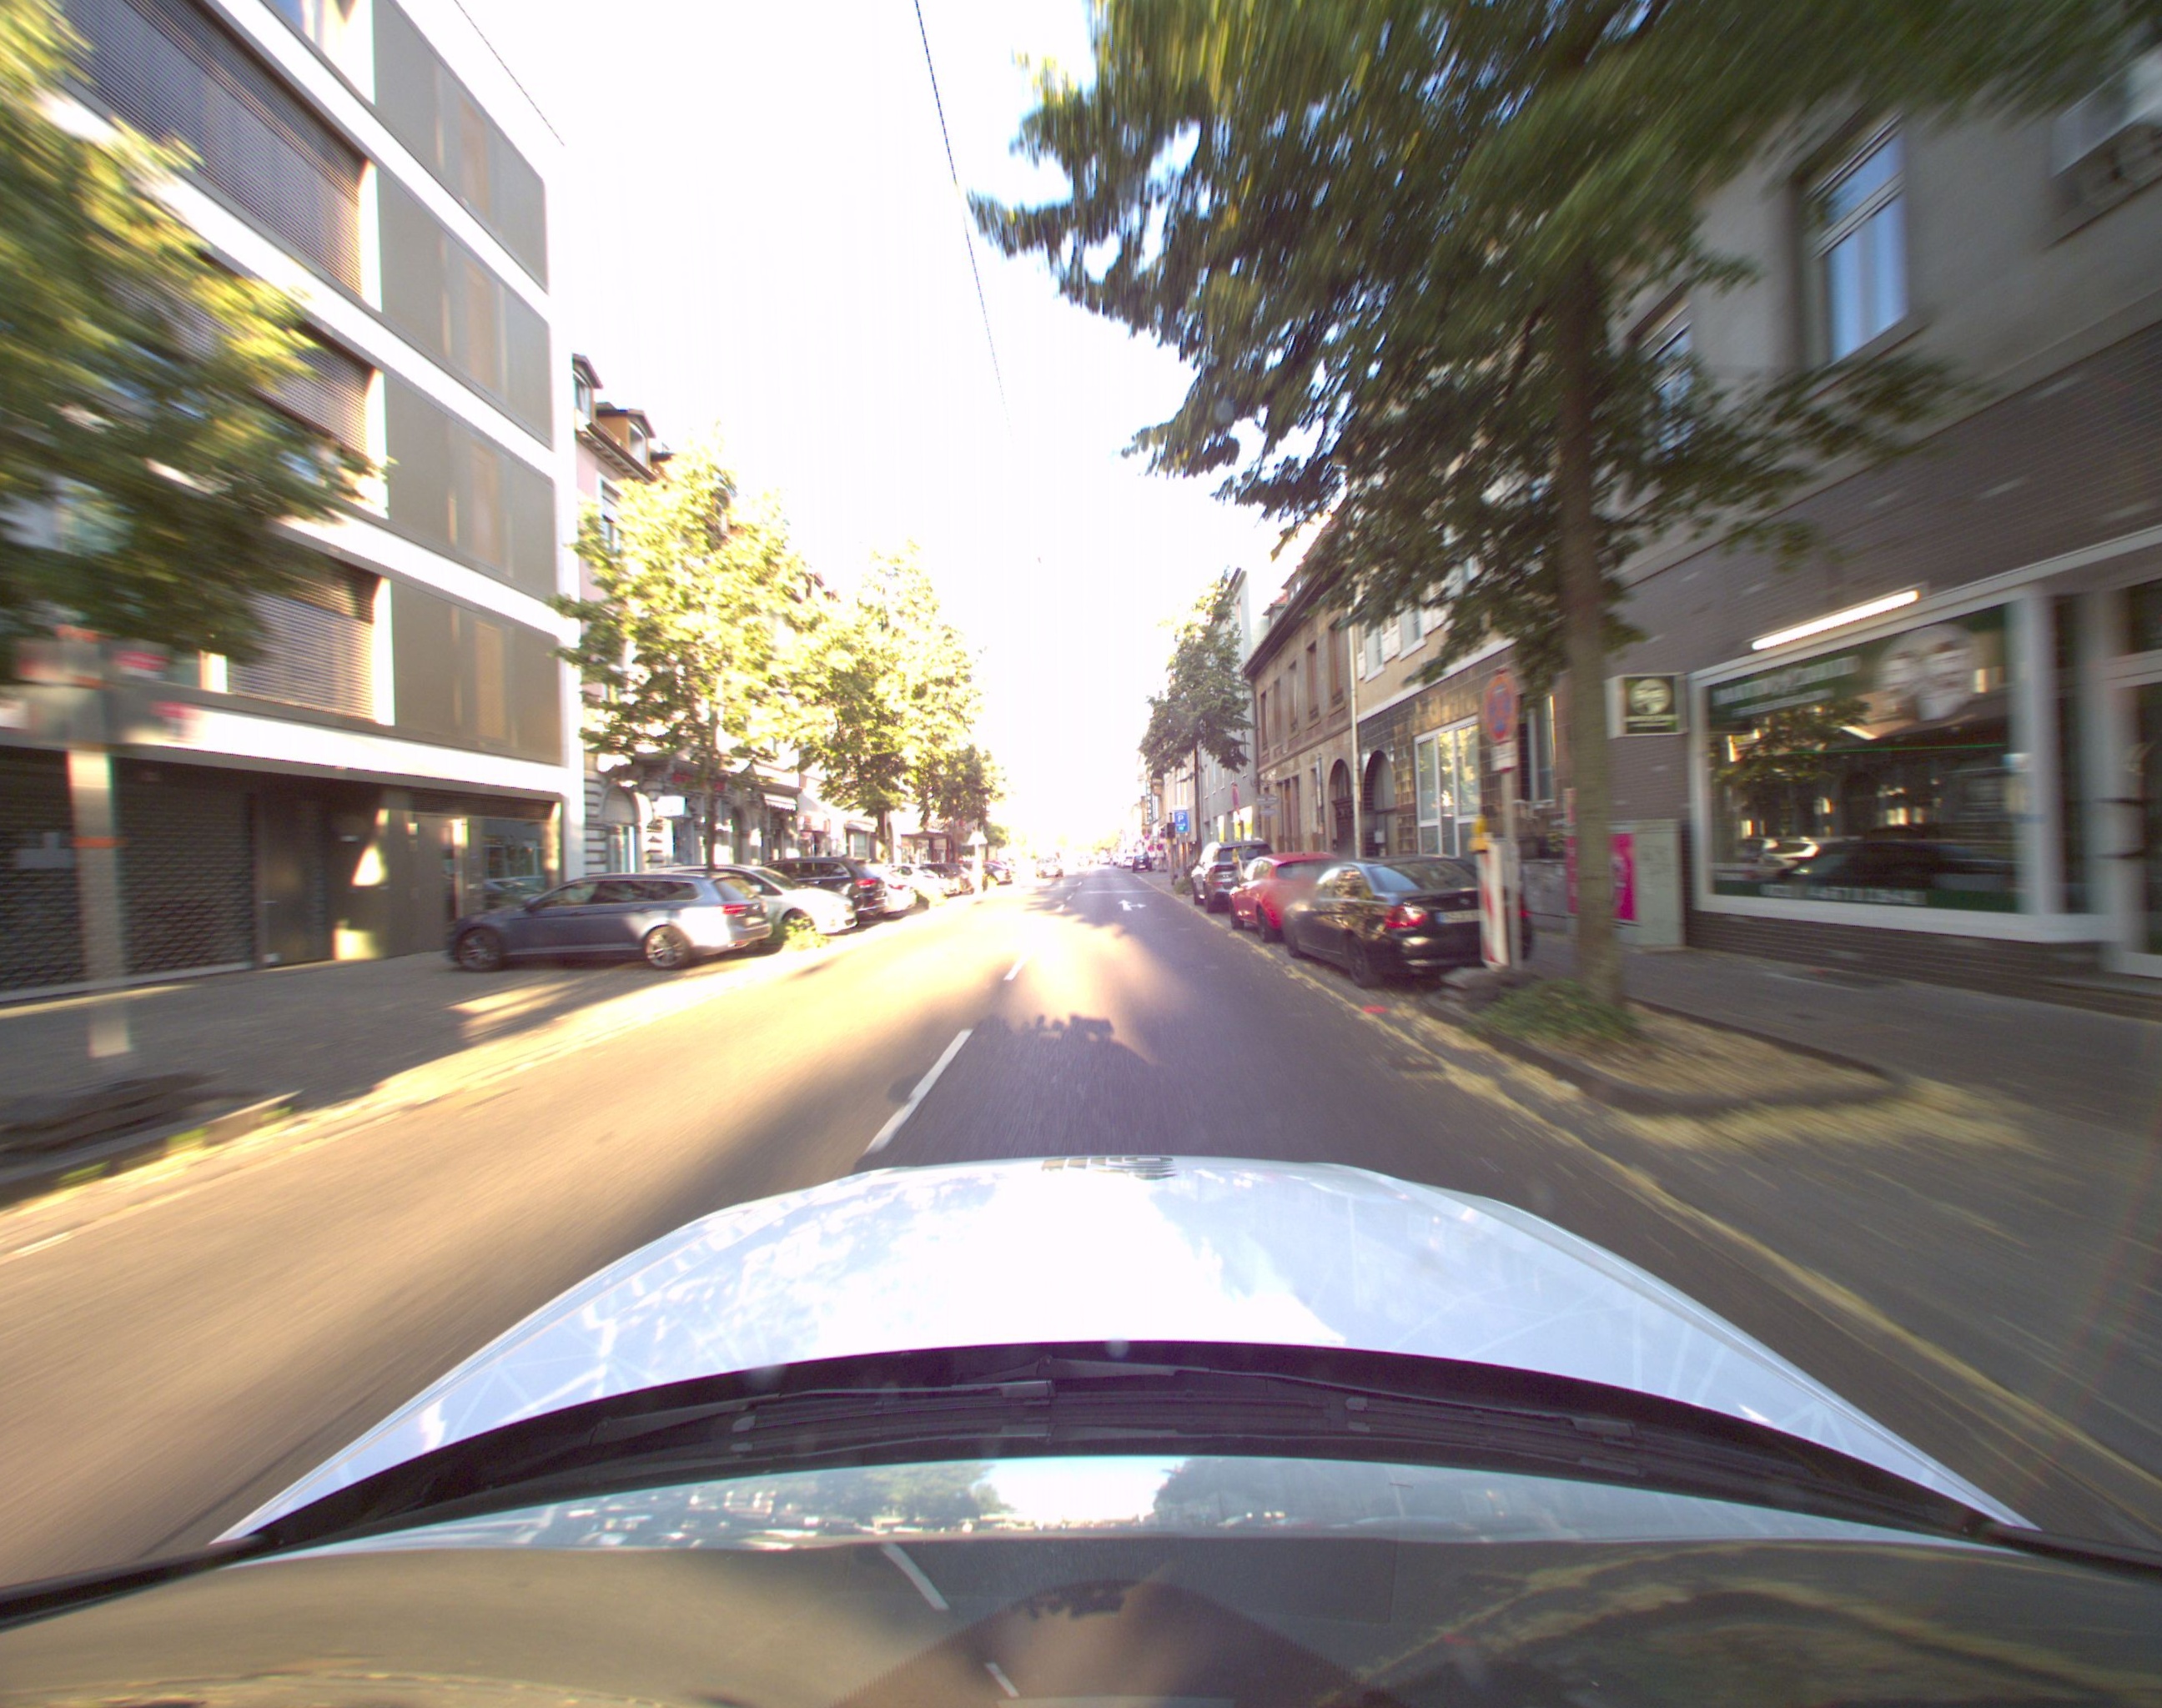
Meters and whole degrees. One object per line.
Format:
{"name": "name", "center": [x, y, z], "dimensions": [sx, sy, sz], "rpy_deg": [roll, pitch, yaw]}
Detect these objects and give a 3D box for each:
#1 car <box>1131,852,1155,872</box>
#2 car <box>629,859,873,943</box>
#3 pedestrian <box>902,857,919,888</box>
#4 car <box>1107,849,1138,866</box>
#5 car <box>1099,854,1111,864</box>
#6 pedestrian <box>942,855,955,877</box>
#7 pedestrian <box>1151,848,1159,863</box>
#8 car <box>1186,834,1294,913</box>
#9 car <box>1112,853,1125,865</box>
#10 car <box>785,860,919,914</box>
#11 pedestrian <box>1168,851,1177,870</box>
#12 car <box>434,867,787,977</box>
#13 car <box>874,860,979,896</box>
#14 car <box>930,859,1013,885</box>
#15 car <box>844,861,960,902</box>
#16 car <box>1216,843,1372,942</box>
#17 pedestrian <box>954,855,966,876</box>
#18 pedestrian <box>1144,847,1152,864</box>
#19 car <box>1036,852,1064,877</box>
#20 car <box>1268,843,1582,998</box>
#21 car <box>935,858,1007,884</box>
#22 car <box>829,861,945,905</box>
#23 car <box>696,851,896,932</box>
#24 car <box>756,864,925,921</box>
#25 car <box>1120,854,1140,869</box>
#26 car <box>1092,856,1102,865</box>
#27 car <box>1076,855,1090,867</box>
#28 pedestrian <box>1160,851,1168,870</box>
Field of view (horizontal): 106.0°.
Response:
{"name": "car", "center": [5.266, 0.652, 69.406], "dimensions": [1.752, 1.536, 4.002], "rpy_deg": [-5, 0, 2]}
{"name": "car", "center": [-6.916, 0.953, 17.404], "dimensions": [4.392, 1.596, 1.890], "rpy_deg": [-1, 0, 0]}
{"name": "pedestrian", "center": [-9.681, 1.056, 46.186], "dimensions": [0.769, 1.721, 0.876], "rpy_deg": [-1, -2, 1]}
{"name": "car", "center": [4.828, 0.431, 95.912], "dimensions": [2.001, 1.761, 4.433], "rpy_deg": [-2, 0, -21]}
{"name": "car", "center": [4.056, 0.845, 136.408], "dimensions": [1.890, 1.581, 4.000], "rpy_deg": [0, 0, 1]}
{"name": "pedestrian", "center": [-9.695, 0.865, 59.658], "dimensions": [0.769, 1.608, 0.876], "rpy_deg": [-1, -2, 1]}
{"name": "pedestrian", "center": [8.442, 0.145, 92.941], "dimensions": [0.770, 1.711, 1.042], "rpy_deg": [-4, 0, 1]}
{"name": "car", "center": [4.108, 0.465, 21.847], "dimensions": [2.031, 1.737, 4.713], "rpy_deg": [-4, 0, 2]}
{"name": "car", "center": [5.596, 0.772, 122.209], "dimensions": [1.724, 1.651, 4.285], "rpy_deg": [0, 0, 1]}
{"name": "car", "center": [-6.896, 0.982, 24.767], "dimensions": [3.545, 1.502, 1.715], "rpy_deg": [-1, 0, -1]}
{"name": "pedestrian", "center": [7.738, 0.538, 68.757], "dimensions": [0.602, 1.599, 0.774], "rpy_deg": [-2, 0, 0]}
{"name": "car", "center": [-7.319, 1.019, 13.030], "dimensions": [4.536, 1.484, 1.743], "rpy_deg": [-2, 0, -2]}
{"name": "car", "center": [-6.467, 0.991, 34.453], "dimensions": [4.095, 1.403, 1.883], "rpy_deg": [-1, 0, -2]}
{"name": "car", "center": [-6.274, 1.041, 47.042], "dimensions": [4.556, 1.407, 1.821], "rpy_deg": [-1, 0, -1]}
{"name": "car", "center": [-7.021, 1.067, 32.224], "dimensions": [4.081, 1.403, 1.844], "rpy_deg": [-2, 0, 2]}
{"name": "car", "center": [3.787, 0.626, 15.160], "dimensions": [1.725, 1.487, 3.898], "rpy_deg": [-4, 0, -1]}
{"name": "pedestrian", "center": [-8.899, 0.880, 59.840], "dimensions": [0.731, 1.528, 0.876], "rpy_deg": [-1, -2, 1]}
{"name": "pedestrian", "center": [7.648, 0.183, 92.906], "dimensions": [0.770, 1.827, 1.011], "rpy_deg": [-4, 0, 1]}
{"name": "car", "center": [-2.300, 0.783, 61.482], "dimensions": [1.855, 1.692, 4.461], "rpy_deg": [-2, 1, 1]}
{"name": "car", "center": [3.927, 0.661, 10.283], "dimensions": [1.946, 1.390, 4.422], "rpy_deg": [-4, 0, -1]}
{"name": "car", "center": [-6.728, 1.027, 50.092], "dimensions": [4.058, 1.536, 1.884], "rpy_deg": [-1, 0, 1]}
{"name": "car", "center": [-6.912, 1.026, 29.261], "dimensions": [3.728, 1.444, 1.805], "rpy_deg": [-1, 0, -2]}
{"name": "car", "center": [-6.776, 0.863, 19.698], "dimensions": [4.137, 1.773, 1.889], "rpy_deg": [-1, 0, -2]}
{"name": "car", "center": [-6.570, 1.033, 22.570], "dimensions": [4.137, 1.421, 1.766], "rpy_deg": [-1, 0, -2]}
{"name": "car", "center": [5.272, 0.810, 88.187], "dimensions": [1.753, 1.536, 4.819], "rpy_deg": [0, -1, -1]}
{"name": "car", "center": [2.970, 1.228, 149.971], "dimensions": [1.890, 1.581, 3.852], "rpy_deg": [1, 0, 1]}
{"name": "car", "center": [0.254, 1.002, 116.842], "dimensions": [1.890, 1.649, 4.104], "rpy_deg": [-2, 0, 1]}
{"name": "pedestrian", "center": [6.977, 0.532, 68.619], "dimensions": [0.602, 1.599, 0.774], "rpy_deg": [-2, 0, 0]}
